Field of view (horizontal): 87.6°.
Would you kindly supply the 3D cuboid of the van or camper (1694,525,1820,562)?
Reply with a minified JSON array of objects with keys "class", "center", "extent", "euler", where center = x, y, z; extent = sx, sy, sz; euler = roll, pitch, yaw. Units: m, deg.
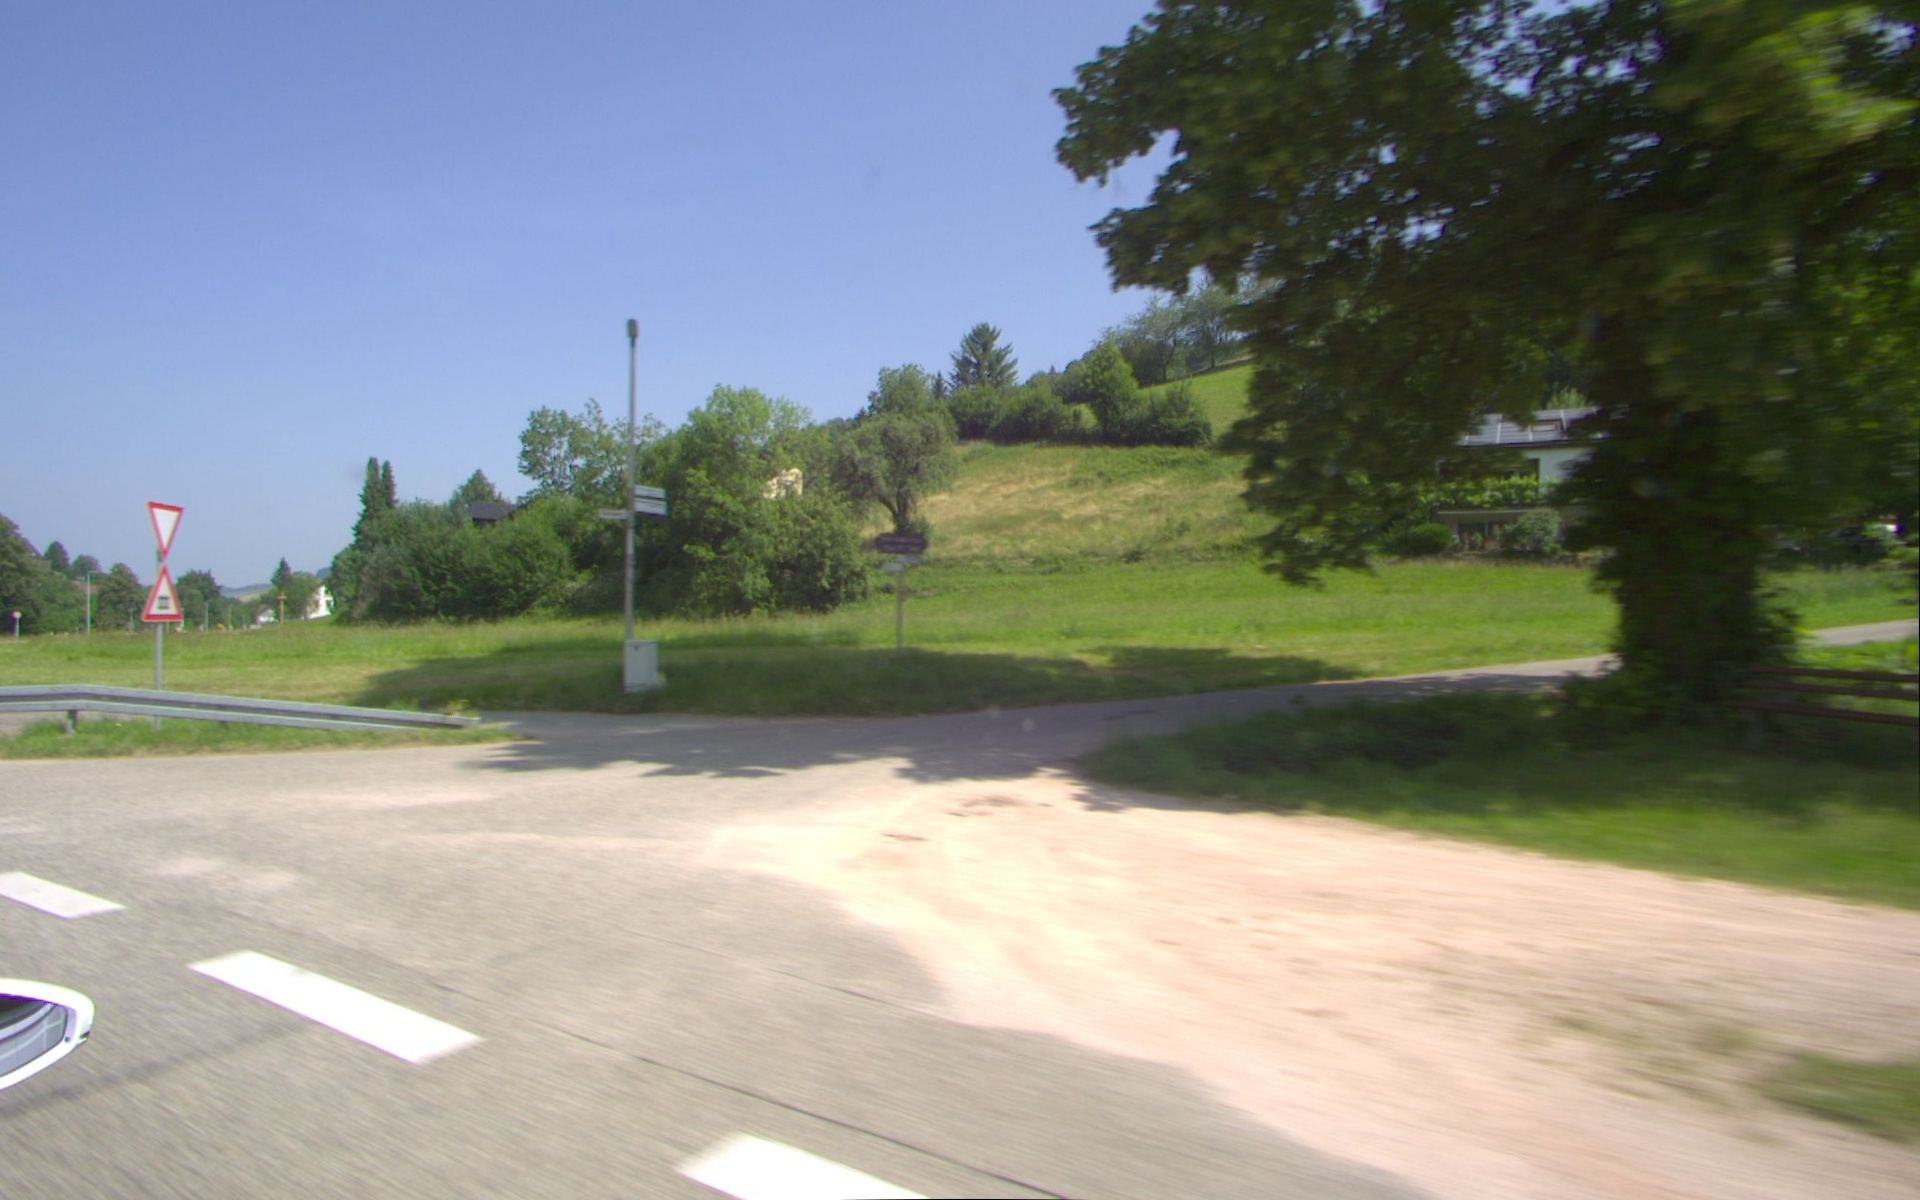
[{"class":"van or camper","center":[42.810,-3.002,53.918],"extent":[4.966,1.663,2.025],"euler":[-1,0,27]}]

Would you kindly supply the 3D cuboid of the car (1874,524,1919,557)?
[{"class":"car","center":[51.859,-3.164,53.275],"extent":[4.384,1.635,1.919],"euler":[1,0,27]}]
